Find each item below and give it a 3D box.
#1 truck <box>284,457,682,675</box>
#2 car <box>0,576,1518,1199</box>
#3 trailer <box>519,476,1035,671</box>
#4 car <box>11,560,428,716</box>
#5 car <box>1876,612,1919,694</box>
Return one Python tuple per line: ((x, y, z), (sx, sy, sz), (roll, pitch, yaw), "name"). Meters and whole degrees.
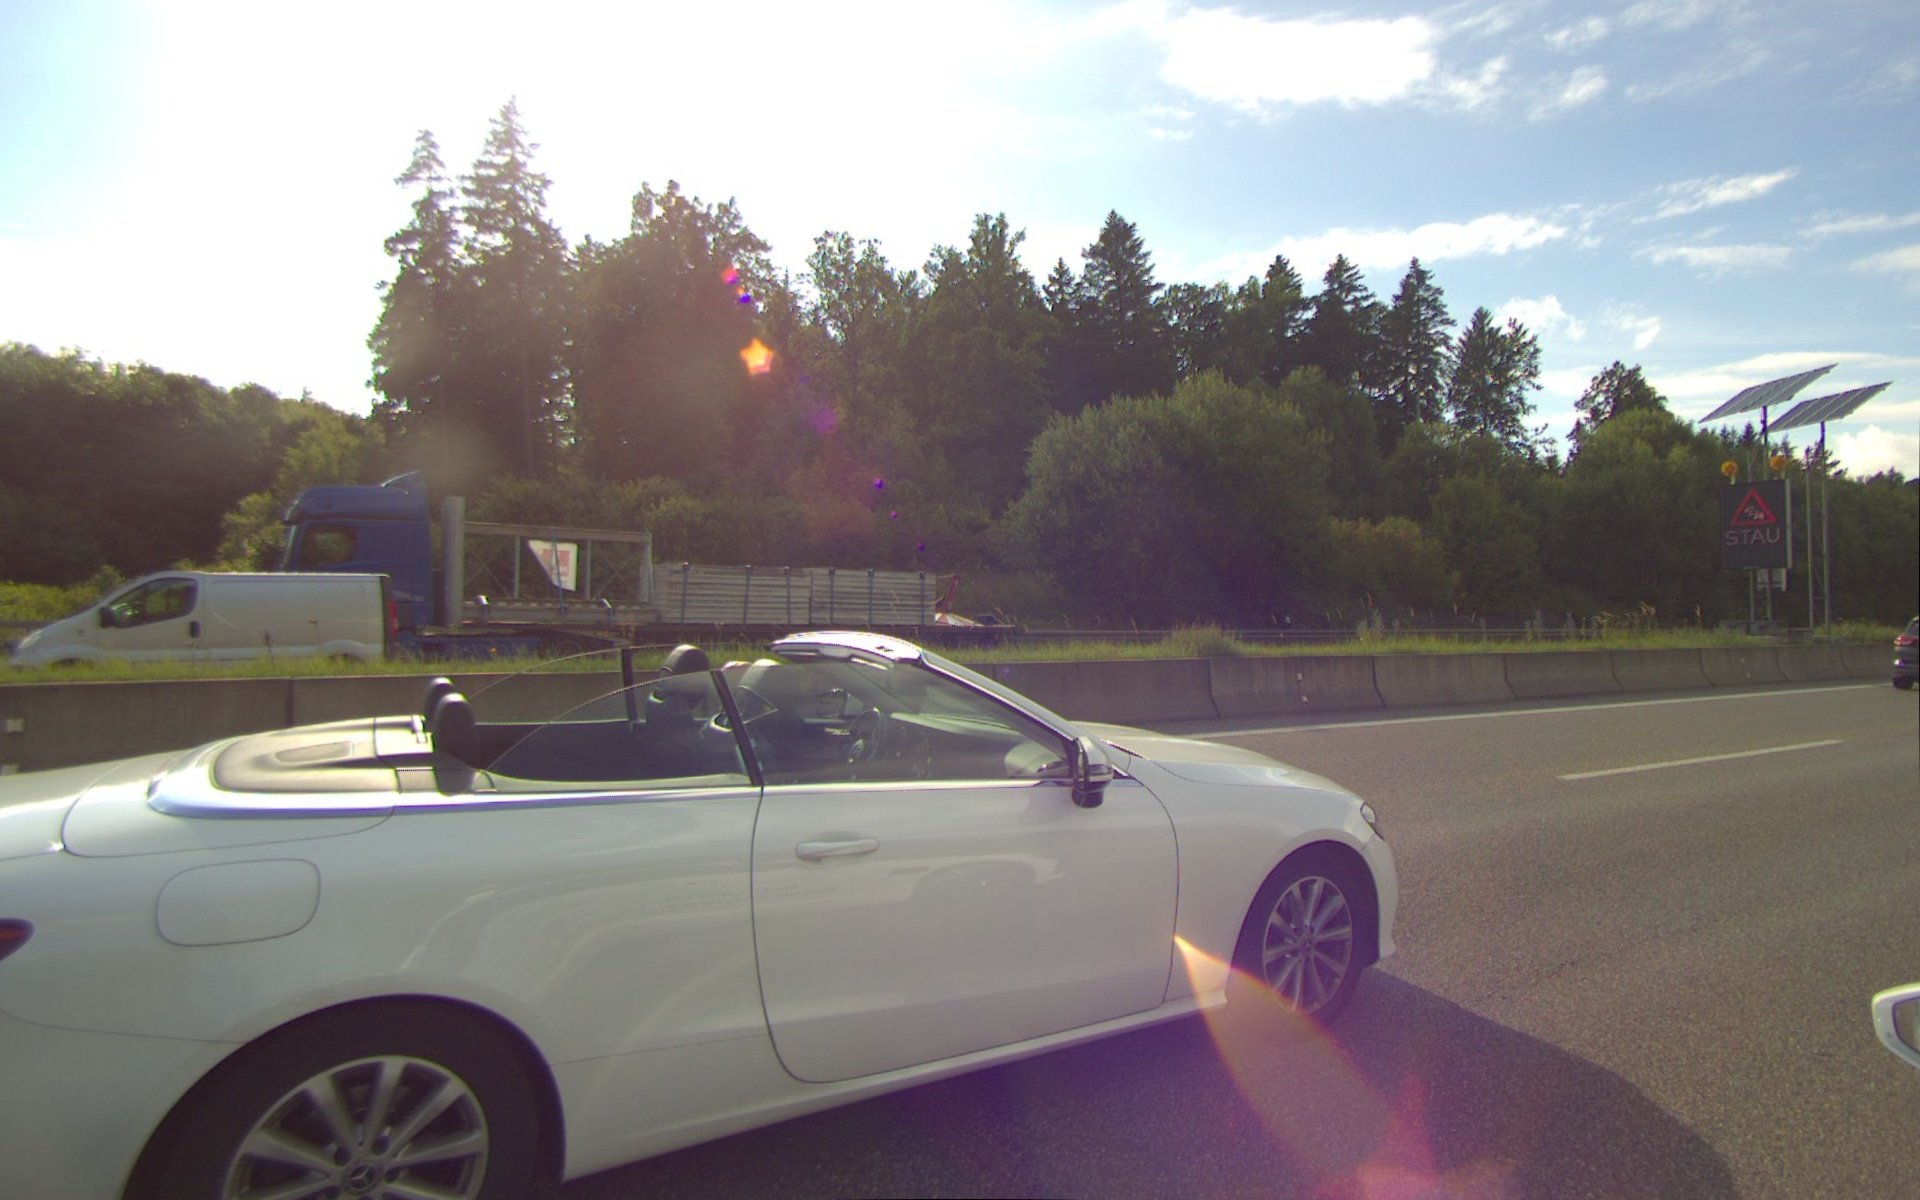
((-9.769, -0.556, 21.047), (7.040, 3.889, 3.099), (1, 0, -31), "truck")
((-0.801, 0.740, 3.344), (5.668, 1.519, 2.050), (1, 0, -30), "car")
((-4.015, -0.451, 24.473), (12.067, 3.889, 3.109), (1, 0, -31), "trailer")
((-10.817, 0.530, 15.228), (4.801, 2.040, 1.984), (1, 0, -30), "car")
((20.953, 1.066, 20.792), (4.158, 1.607, 1.798), (0, 1, -31), "car")
